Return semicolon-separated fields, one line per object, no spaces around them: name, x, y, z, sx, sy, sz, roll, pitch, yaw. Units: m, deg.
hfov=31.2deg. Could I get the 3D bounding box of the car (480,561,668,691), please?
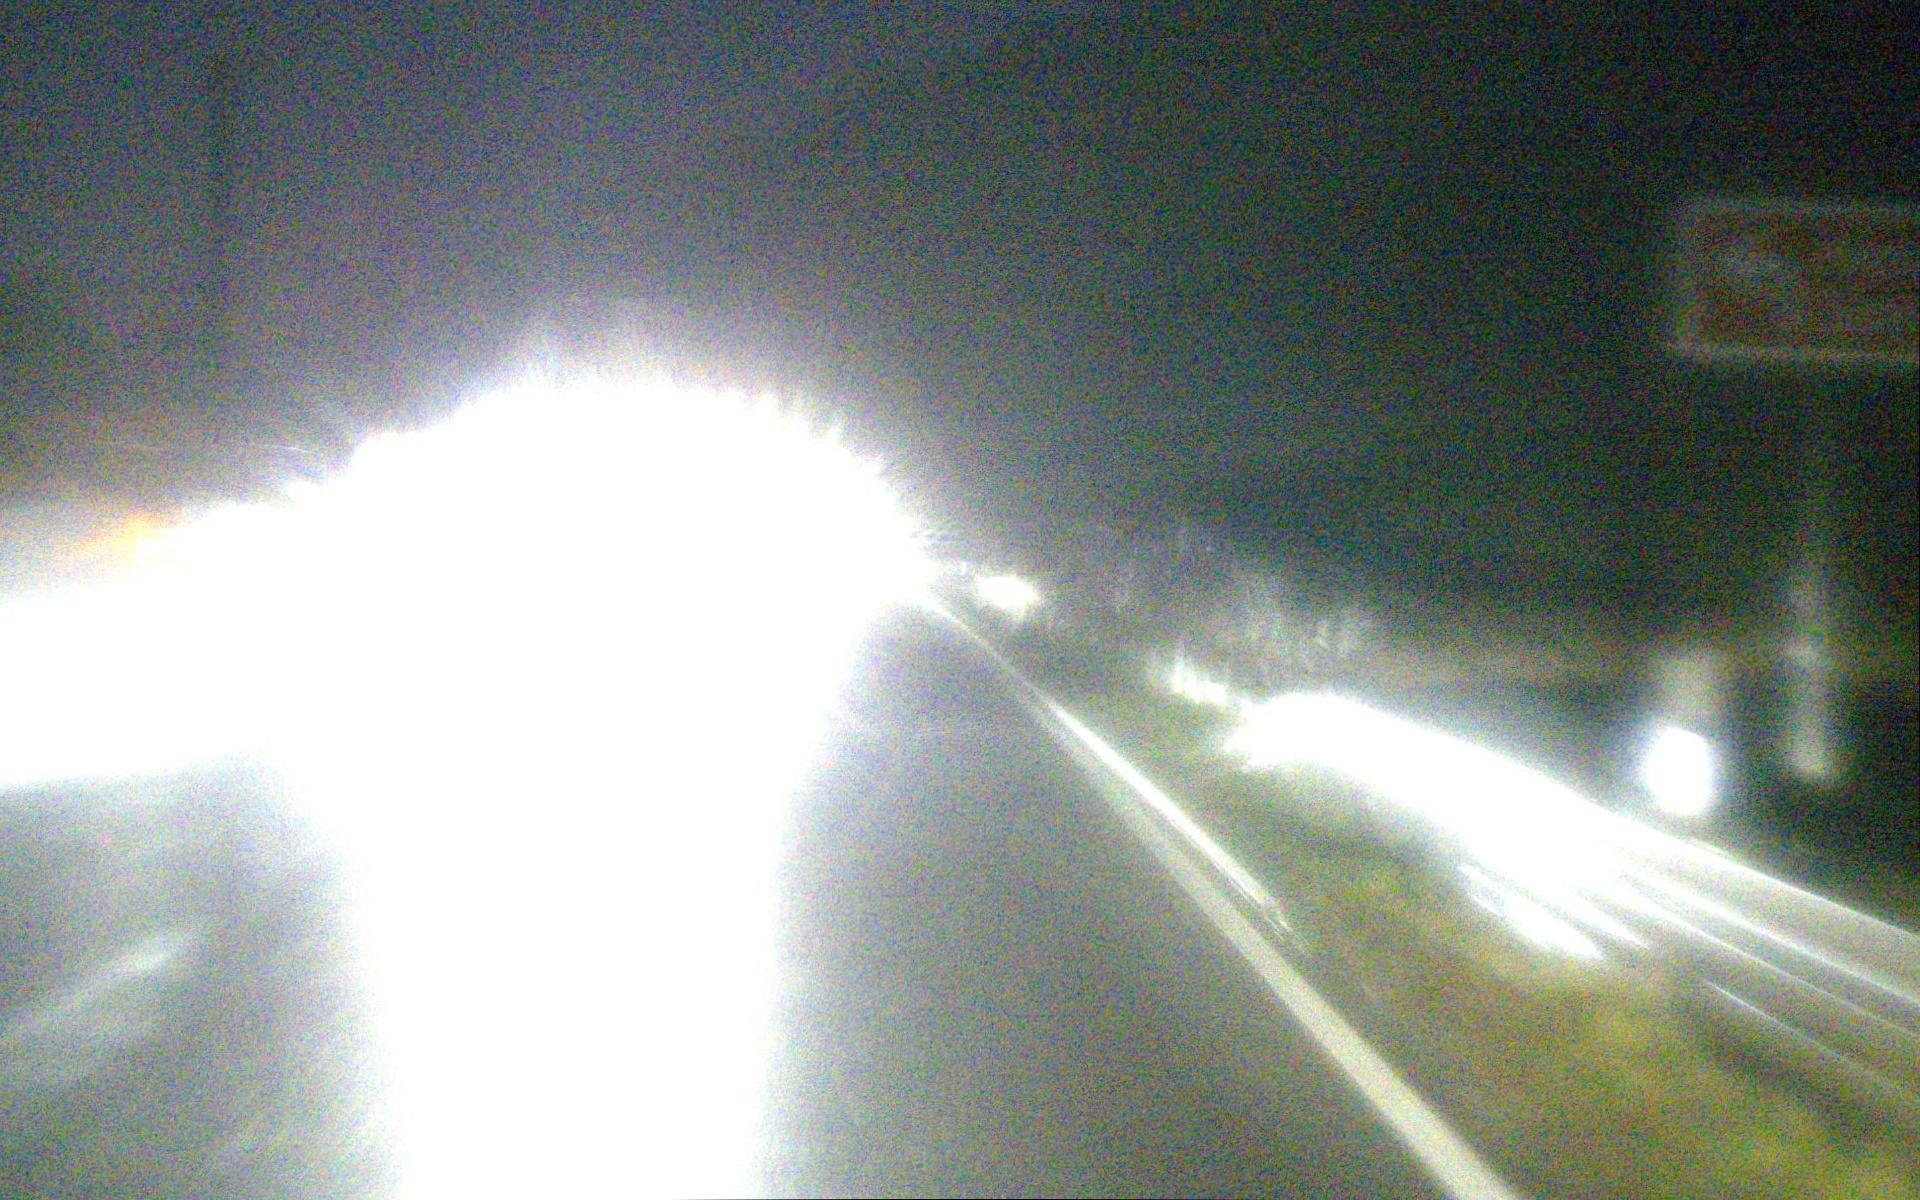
car;-4.612;0.270;41.651;1.868;1.443;4.393;0;1;-1
